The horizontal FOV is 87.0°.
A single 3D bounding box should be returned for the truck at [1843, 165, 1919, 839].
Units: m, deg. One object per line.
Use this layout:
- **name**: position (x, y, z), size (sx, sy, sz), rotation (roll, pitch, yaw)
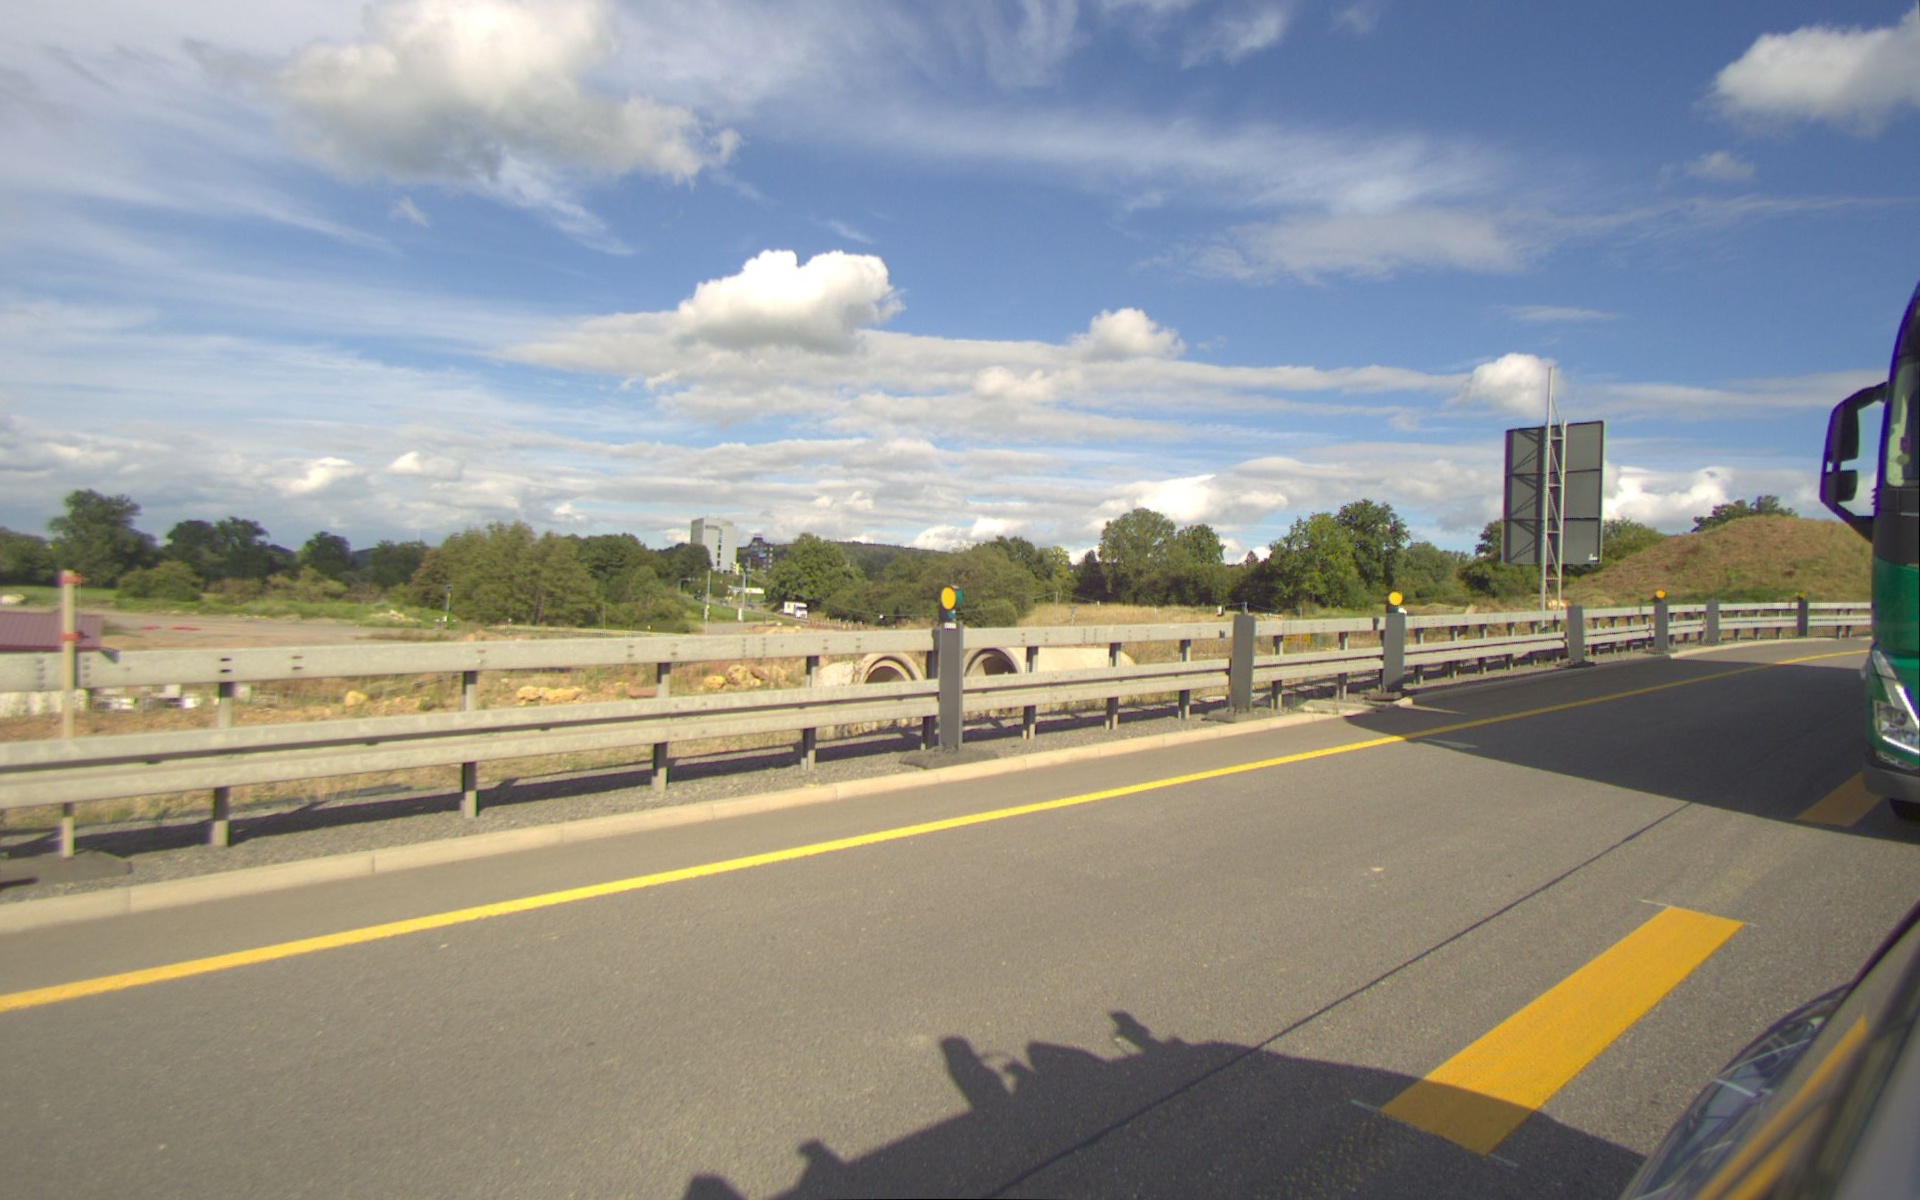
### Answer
- **truck**: position (10.025, -0.694, 8.417), size (10.139, 3.895, 2.661), rotation (-2, 1, -41)
